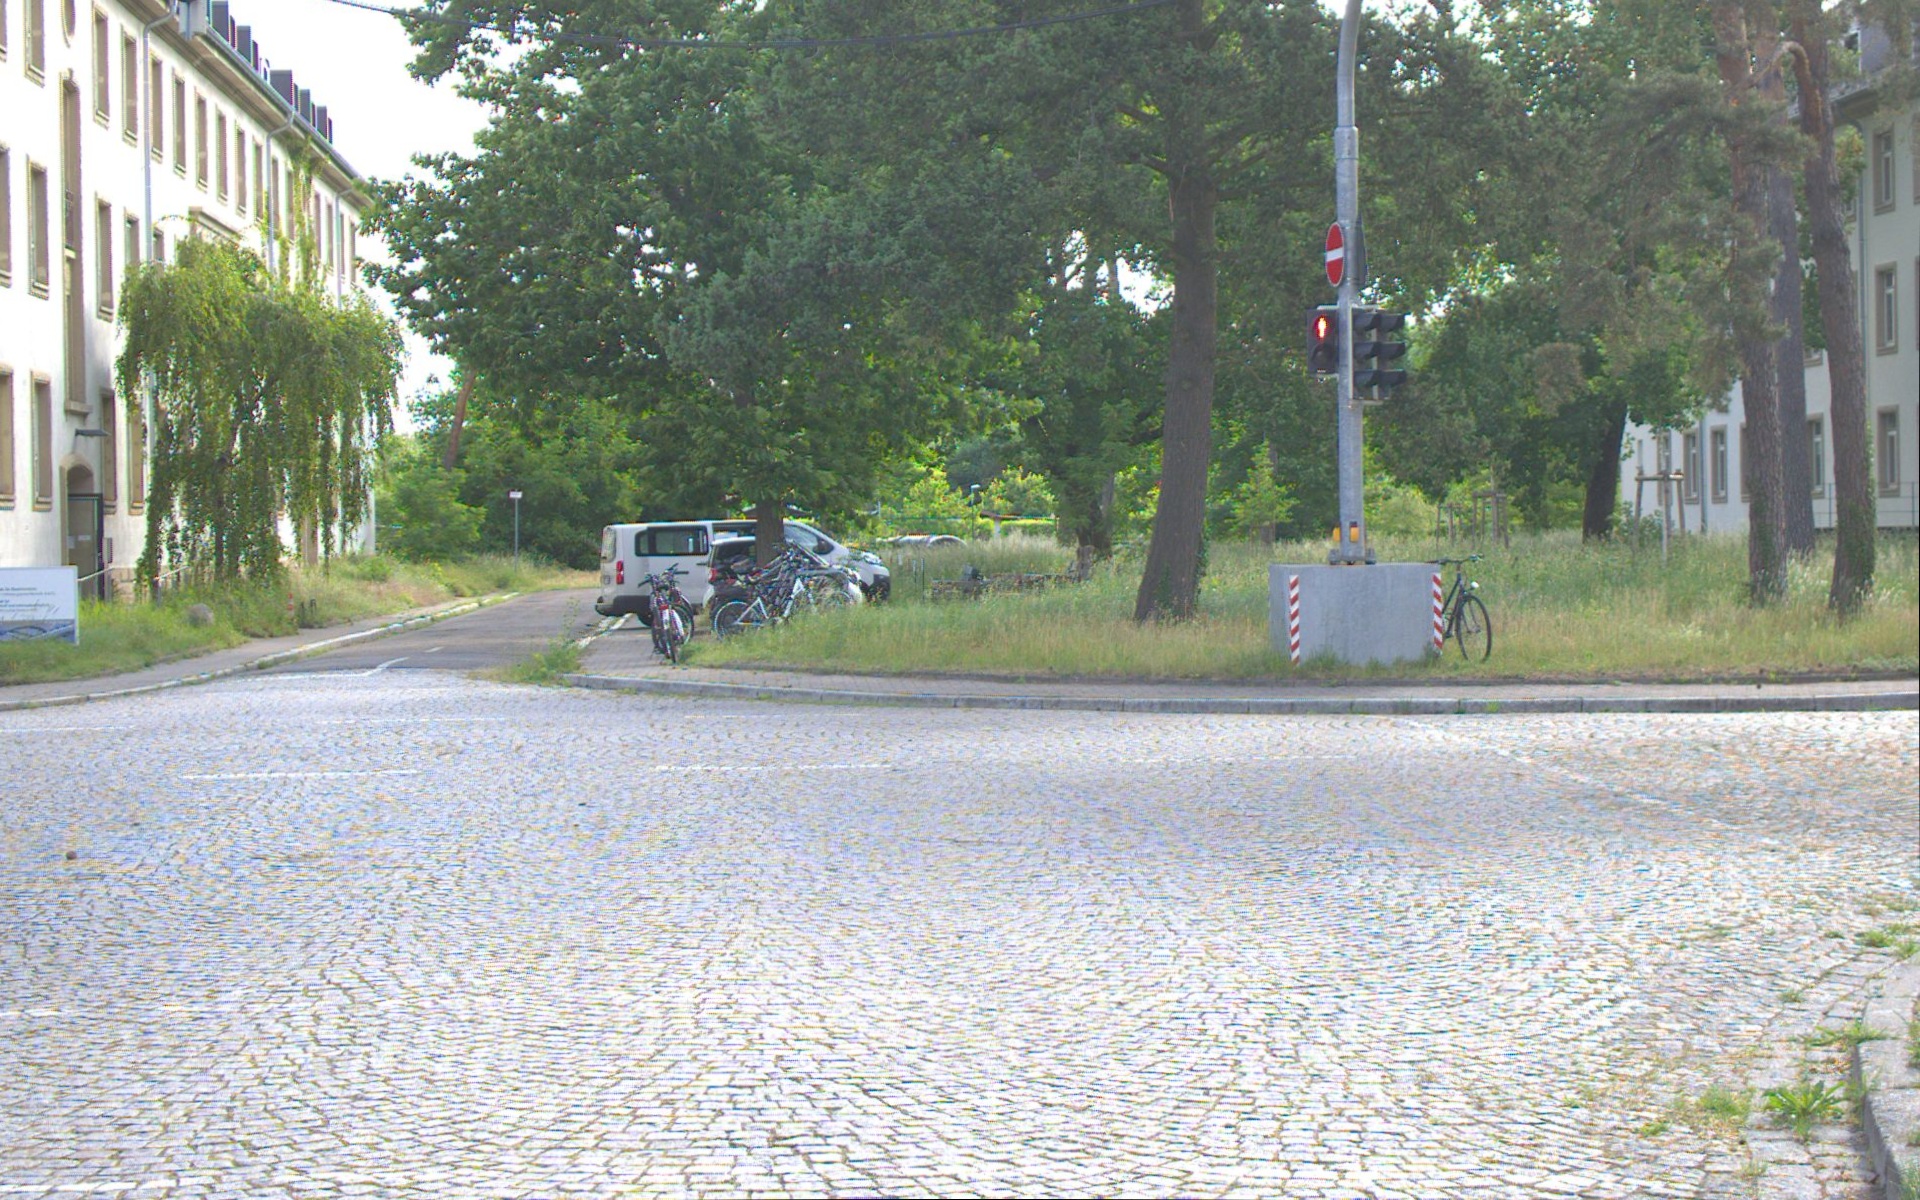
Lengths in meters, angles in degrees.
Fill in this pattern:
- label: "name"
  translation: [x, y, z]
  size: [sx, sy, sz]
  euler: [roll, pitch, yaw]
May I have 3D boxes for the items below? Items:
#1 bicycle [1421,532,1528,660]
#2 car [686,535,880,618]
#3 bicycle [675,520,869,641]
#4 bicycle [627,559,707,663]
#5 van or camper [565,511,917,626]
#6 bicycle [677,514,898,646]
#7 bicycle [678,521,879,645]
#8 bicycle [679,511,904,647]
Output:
- label: "bicycle"
  translation: [4.919, -0.053, 33.005]
  size: [0.724, 1.165, 2.737]
  euler: [1, 1, 3]
- label: "car"
  translation: [-3.038, -0.417, 58.789]
  size: [3.137, 1.349, 1.620]
  euler: [-1, 1, -9]
- label: "bicycle"
  translation: [-2.752, -0.287, 50.496]
  size: [2.775, 1.688, 1.120]
  euler: [1, 1, -2]
- label: "bicycle"
  translation: [-3.402, 0.105, 40.067]
  size: [0.725, 1.104, 2.462]
  euler: [-5, 1, -2]
- label: "van or camper"
  translation: [-3.975, -0.593, 62.344]
  size: [6.030, 1.942, 2.001]
  euler: [-1, 1, -17]
- label: "bicycle"
  translation: [-2.295, -0.281, 45.609]
  size: [2.775, 1.688, 1.120]
  euler: [-1, 1, -11]
- label: "bicycle"
  translation: [-2.581, -0.249, 49.165]
  size: [2.775, 1.688, 1.120]
  euler: [1, 1, 0]
- label: "bicycle"
  translation: [-2.191, -0.286, 44.418]
  size: [2.775, 1.688, 1.120]
  euler: [-1, 1, -9]
